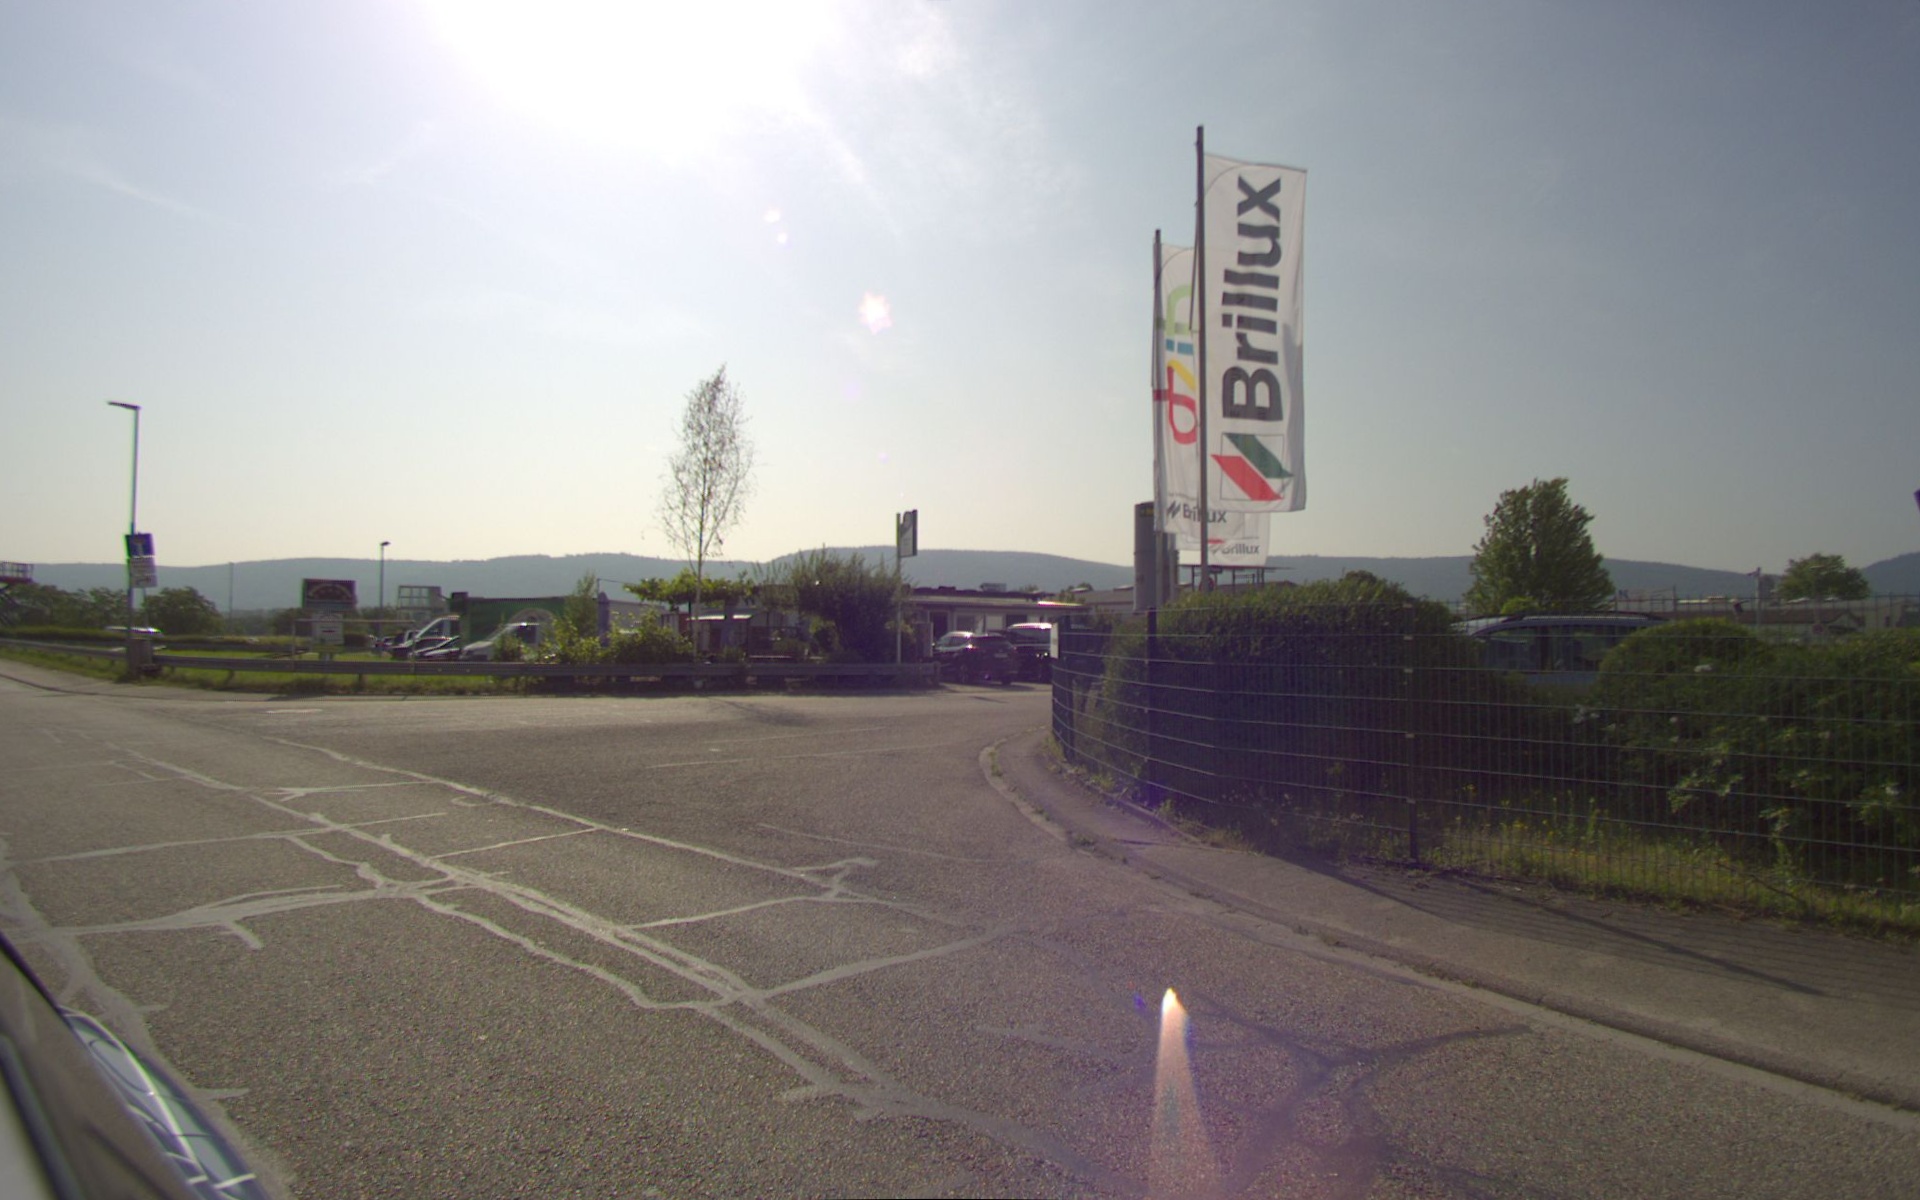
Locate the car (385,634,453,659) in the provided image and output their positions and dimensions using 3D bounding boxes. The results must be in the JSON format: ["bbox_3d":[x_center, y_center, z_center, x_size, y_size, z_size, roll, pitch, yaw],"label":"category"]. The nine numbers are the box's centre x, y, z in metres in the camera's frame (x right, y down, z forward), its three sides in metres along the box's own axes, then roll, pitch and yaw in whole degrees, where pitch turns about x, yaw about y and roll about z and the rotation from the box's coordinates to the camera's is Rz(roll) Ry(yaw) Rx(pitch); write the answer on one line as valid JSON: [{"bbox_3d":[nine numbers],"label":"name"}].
[{"bbox_3d":[-35.290,3.032,66.091,3.628,1.533,1.688,4,-4,-38],"label":"car"}]

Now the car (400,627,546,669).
[{"bbox_3d":[-19.517,1.975,40.629,5.055,1.546,2.184,3,-5,-30],"label":"car"}]

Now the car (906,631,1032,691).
[{"bbox_3d":[0.223,1.896,32.201,1.967,1.785,4.009,2,-3,-37],"label":"car"}]

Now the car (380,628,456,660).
[{"bbox_3d":[-31.986,2.625,59.776,3.696,1.764,1.753,3,-4,-35],"label":"car"}]

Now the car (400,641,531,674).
[{"bbox_3d":[-21.249,2.500,43.535,4.882,1.328,1.784,3,-5,-30],"label":"car"}]

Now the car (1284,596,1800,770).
[{"bbox_3d":[6.089,0.826,11.114,4.454,1.708,1.955,0,0,5],"label":"car"}]

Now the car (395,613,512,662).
[{"bbox_3d":[-26.810,2.052,53.639,5.314,2.391,2.300,3,-5,-30],"label":"car"}]

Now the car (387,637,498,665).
[{"bbox_3d":[-24.764,2.445,48.455,4.616,1.228,1.836,3,-5,-30],"label":"car"}]

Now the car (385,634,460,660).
[{"bbox_3d":[-34.021,2.963,64.062,3.935,1.533,1.688,4,-4,-38],"label":"car"}]

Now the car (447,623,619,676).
[{"bbox_3d":[-14.998,1.782,35.760,5.199,1.719,2.002,4,-4,-43],"label":"car"}]

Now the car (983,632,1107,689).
[{"bbox_3d":[2.776,1.982,33.876,1.967,1.785,4.009,2,-3,-37],"label":"car"}]

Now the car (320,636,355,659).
[{"bbox_3d":[-55.979,4.268,90.978,1.969,2.029,4.163,4,-4,-41],"label":"car"}]

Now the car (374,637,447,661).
[{"bbox_3d":[-33.525,3.004,61.758,3.696,1.399,1.733,3,-4,-35],"label":"car"}]

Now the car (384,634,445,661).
[{"bbox_3d":[-40.257,3.502,74.706,3.712,1.809,1.937,0,0,-37],"label":"car"}]

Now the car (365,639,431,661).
[{"bbox_3d":[-42.480,3.767,76.497,4.089,1.547,1.887,3,-4,-37],"label":"car"}]

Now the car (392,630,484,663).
[{"bbox_3d":[-28.604,2.591,55.499,4.328,1.676,1.812,3,-5,-30],"label":"car"}]

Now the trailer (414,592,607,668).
[{"bbox_3d":[-17.096,1.224,38.626,6.223,2.625,2.861,3,-4,-35],"label":"trailer"}]
